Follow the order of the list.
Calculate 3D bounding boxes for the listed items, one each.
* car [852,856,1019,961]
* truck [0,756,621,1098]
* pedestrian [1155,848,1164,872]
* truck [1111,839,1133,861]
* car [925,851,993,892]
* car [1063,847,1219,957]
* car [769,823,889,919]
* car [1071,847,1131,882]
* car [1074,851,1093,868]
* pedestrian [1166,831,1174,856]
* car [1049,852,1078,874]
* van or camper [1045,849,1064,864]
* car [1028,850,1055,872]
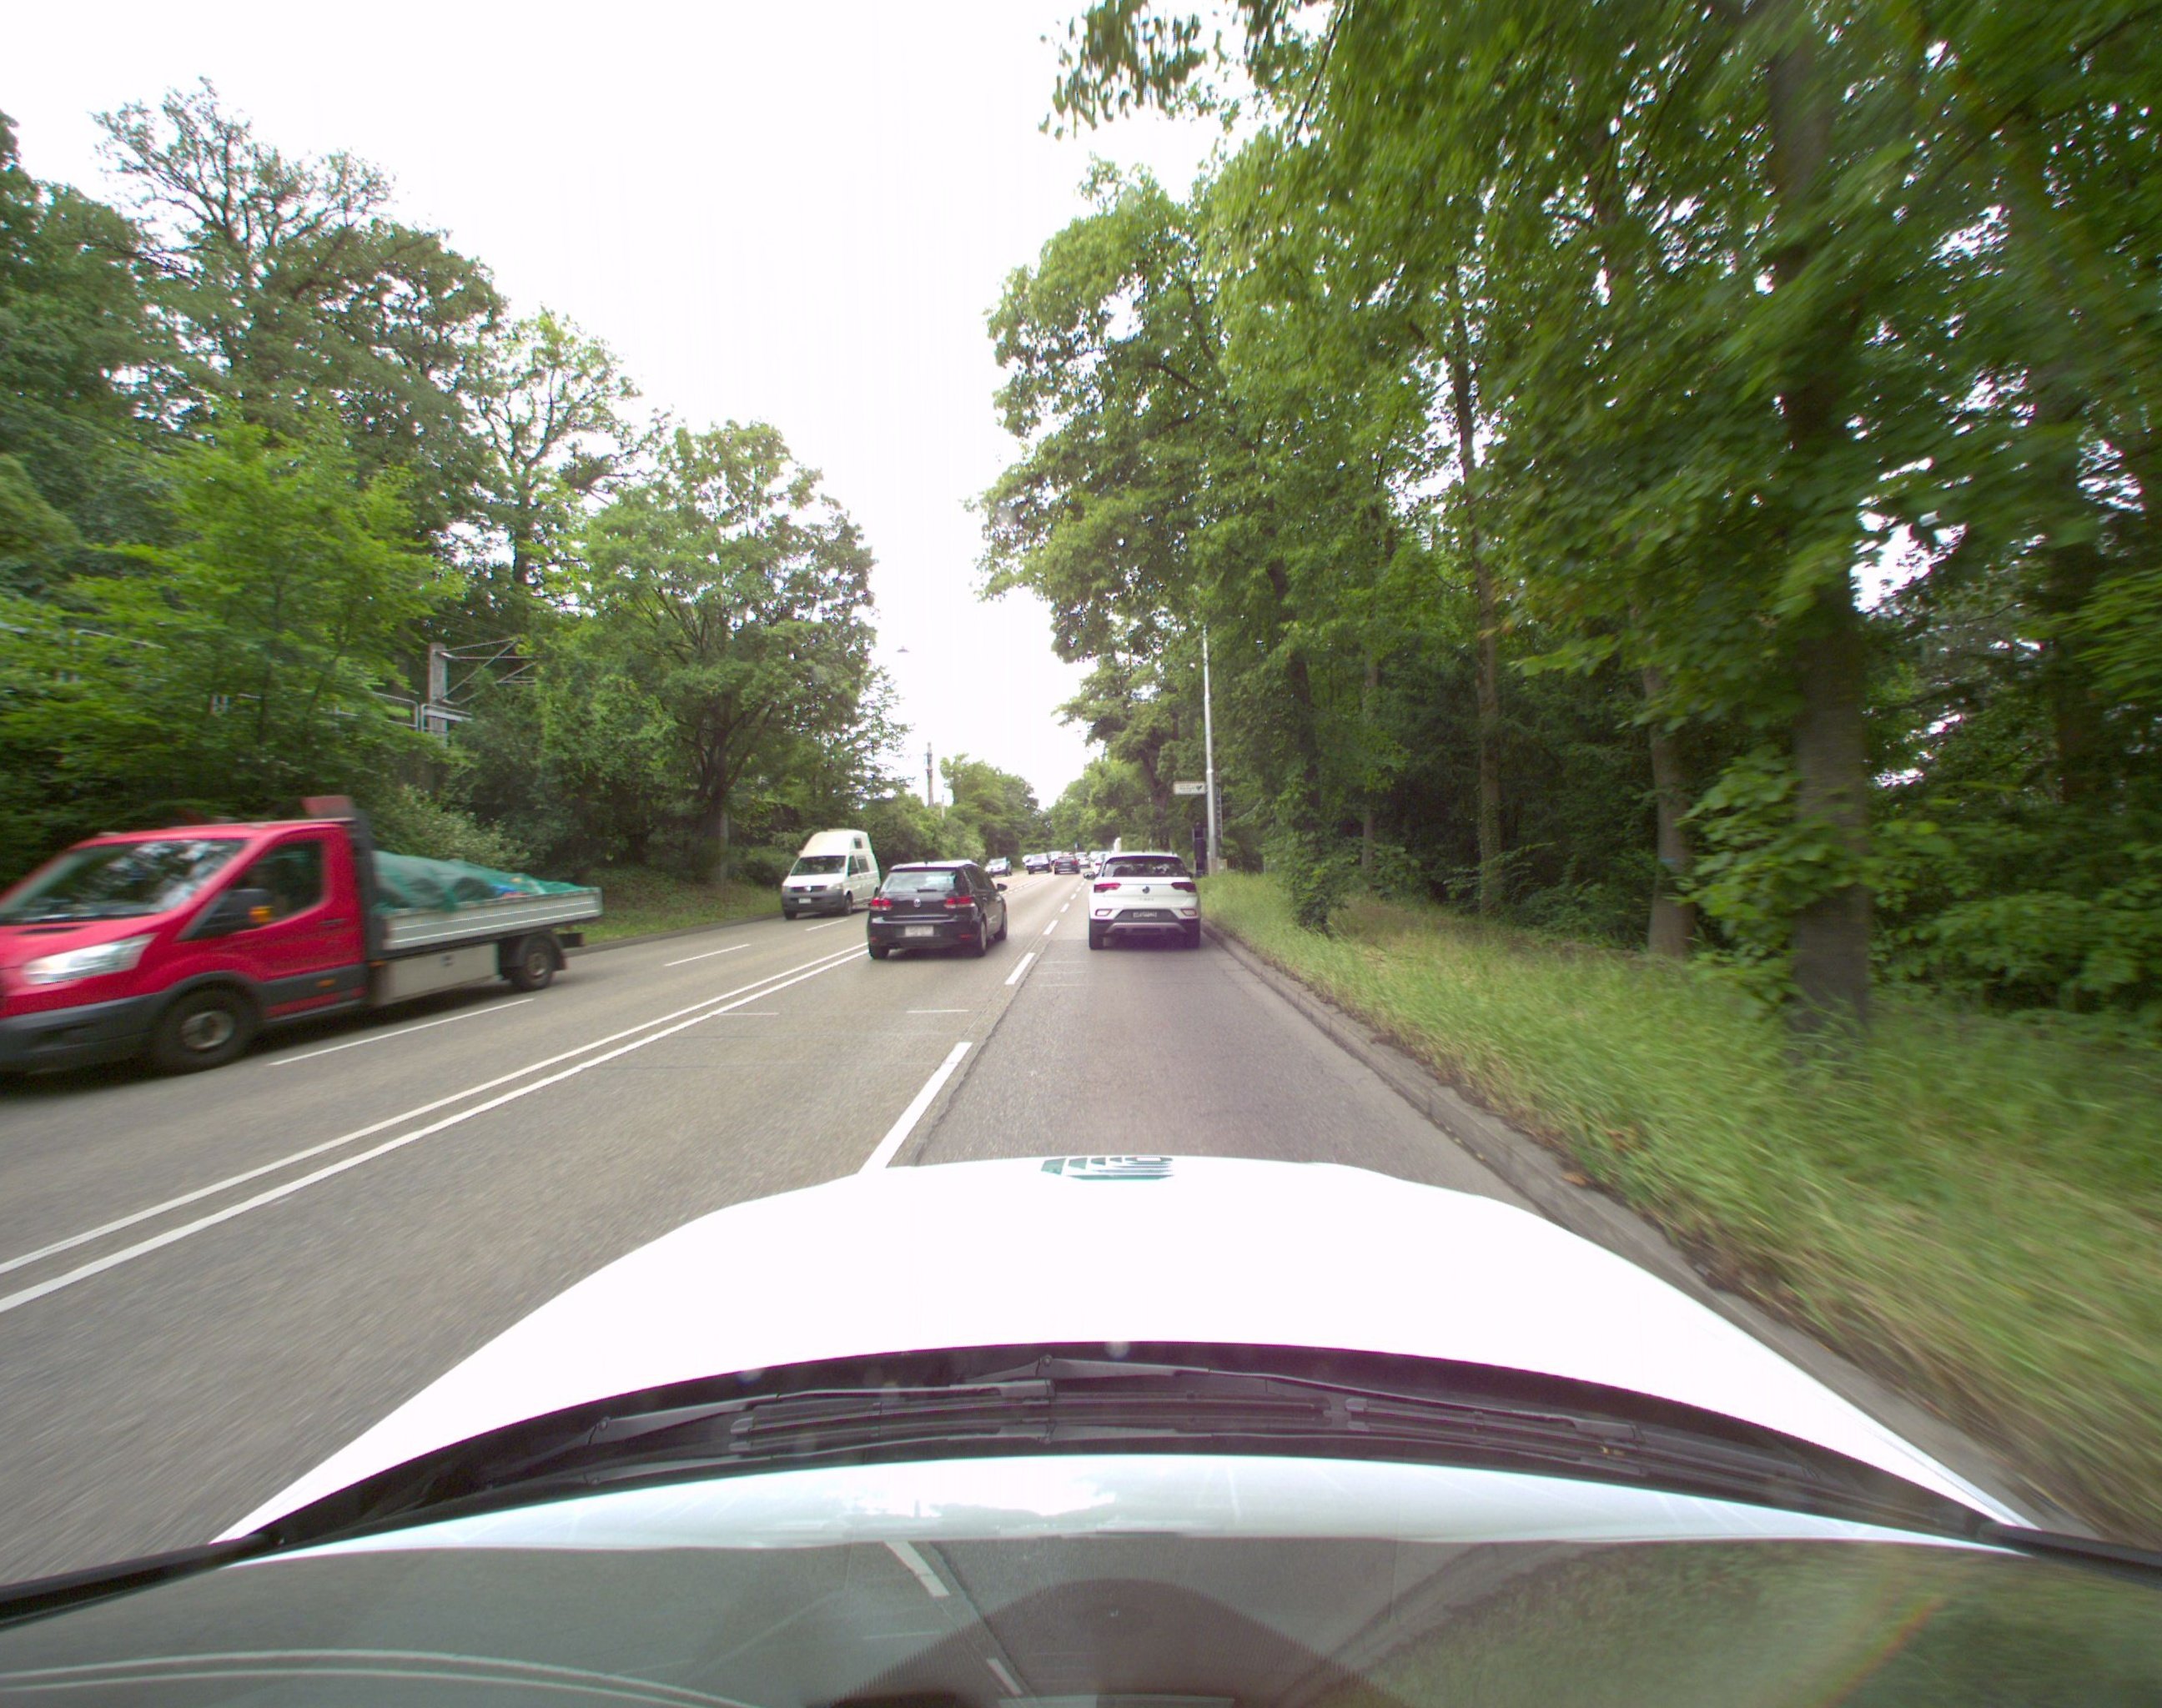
[{"bbox_3d":[-2.241,0.790,13.652,1.942,1.466,4.001,-1,0,2],"label":"car"},{"bbox_3d":[-8.270,0.604,9.065,2.168,2.411,6.471,-5,-1,3],"label":"truck"},{"bbox_3d":[5.680,0.413,58.835,0.607,1.698,0.548,-1,-1,-2],"label":"pedestrian"},{"bbox_3d":[5.929,-0.536,119.248,2.477,3.182,7.219,-1,0,-3],"label":"truck"},{"bbox_3d":[-4.654,0.637,31.747,1.832,1.465,4.467,-1,0,2],"label":"car"},{"bbox_3d":[0.863,0.721,14.076,1.998,1.596,3.991,-1,0,-6],"label":"car"},{"bbox_3d":[-7.640,0.485,25.245,1.880,2.555,4.917,-4,0,2],"label":"car"},{"bbox_3d":[1.054,0.569,44.381,1.858,1.702,3.973,-5,1,-20],"label":"car"},{"bbox_3d":[0.266,0.513,81.513,1.815,1.623,4.001,-1,0,2],"label":"car"},{"bbox_3d":[6.462,-0.759,59.080,0.518,1.753,0.524,-1,-1,-2],"label":"pedestrian"},{"bbox_3d":[-1.281,0.641,62.058,1.986,1.592,4.001,-1,0,2],"label":"car"},{"bbox_3d":[-3.919,0.406,118.852,1.994,2.013,5.349,-5,0,-10],"label":"van or camper"},{"bbox_3d":[-3.365,0.670,70.328,1.803,1.662,4.832,-3,-3,2],"label":"car"}]
